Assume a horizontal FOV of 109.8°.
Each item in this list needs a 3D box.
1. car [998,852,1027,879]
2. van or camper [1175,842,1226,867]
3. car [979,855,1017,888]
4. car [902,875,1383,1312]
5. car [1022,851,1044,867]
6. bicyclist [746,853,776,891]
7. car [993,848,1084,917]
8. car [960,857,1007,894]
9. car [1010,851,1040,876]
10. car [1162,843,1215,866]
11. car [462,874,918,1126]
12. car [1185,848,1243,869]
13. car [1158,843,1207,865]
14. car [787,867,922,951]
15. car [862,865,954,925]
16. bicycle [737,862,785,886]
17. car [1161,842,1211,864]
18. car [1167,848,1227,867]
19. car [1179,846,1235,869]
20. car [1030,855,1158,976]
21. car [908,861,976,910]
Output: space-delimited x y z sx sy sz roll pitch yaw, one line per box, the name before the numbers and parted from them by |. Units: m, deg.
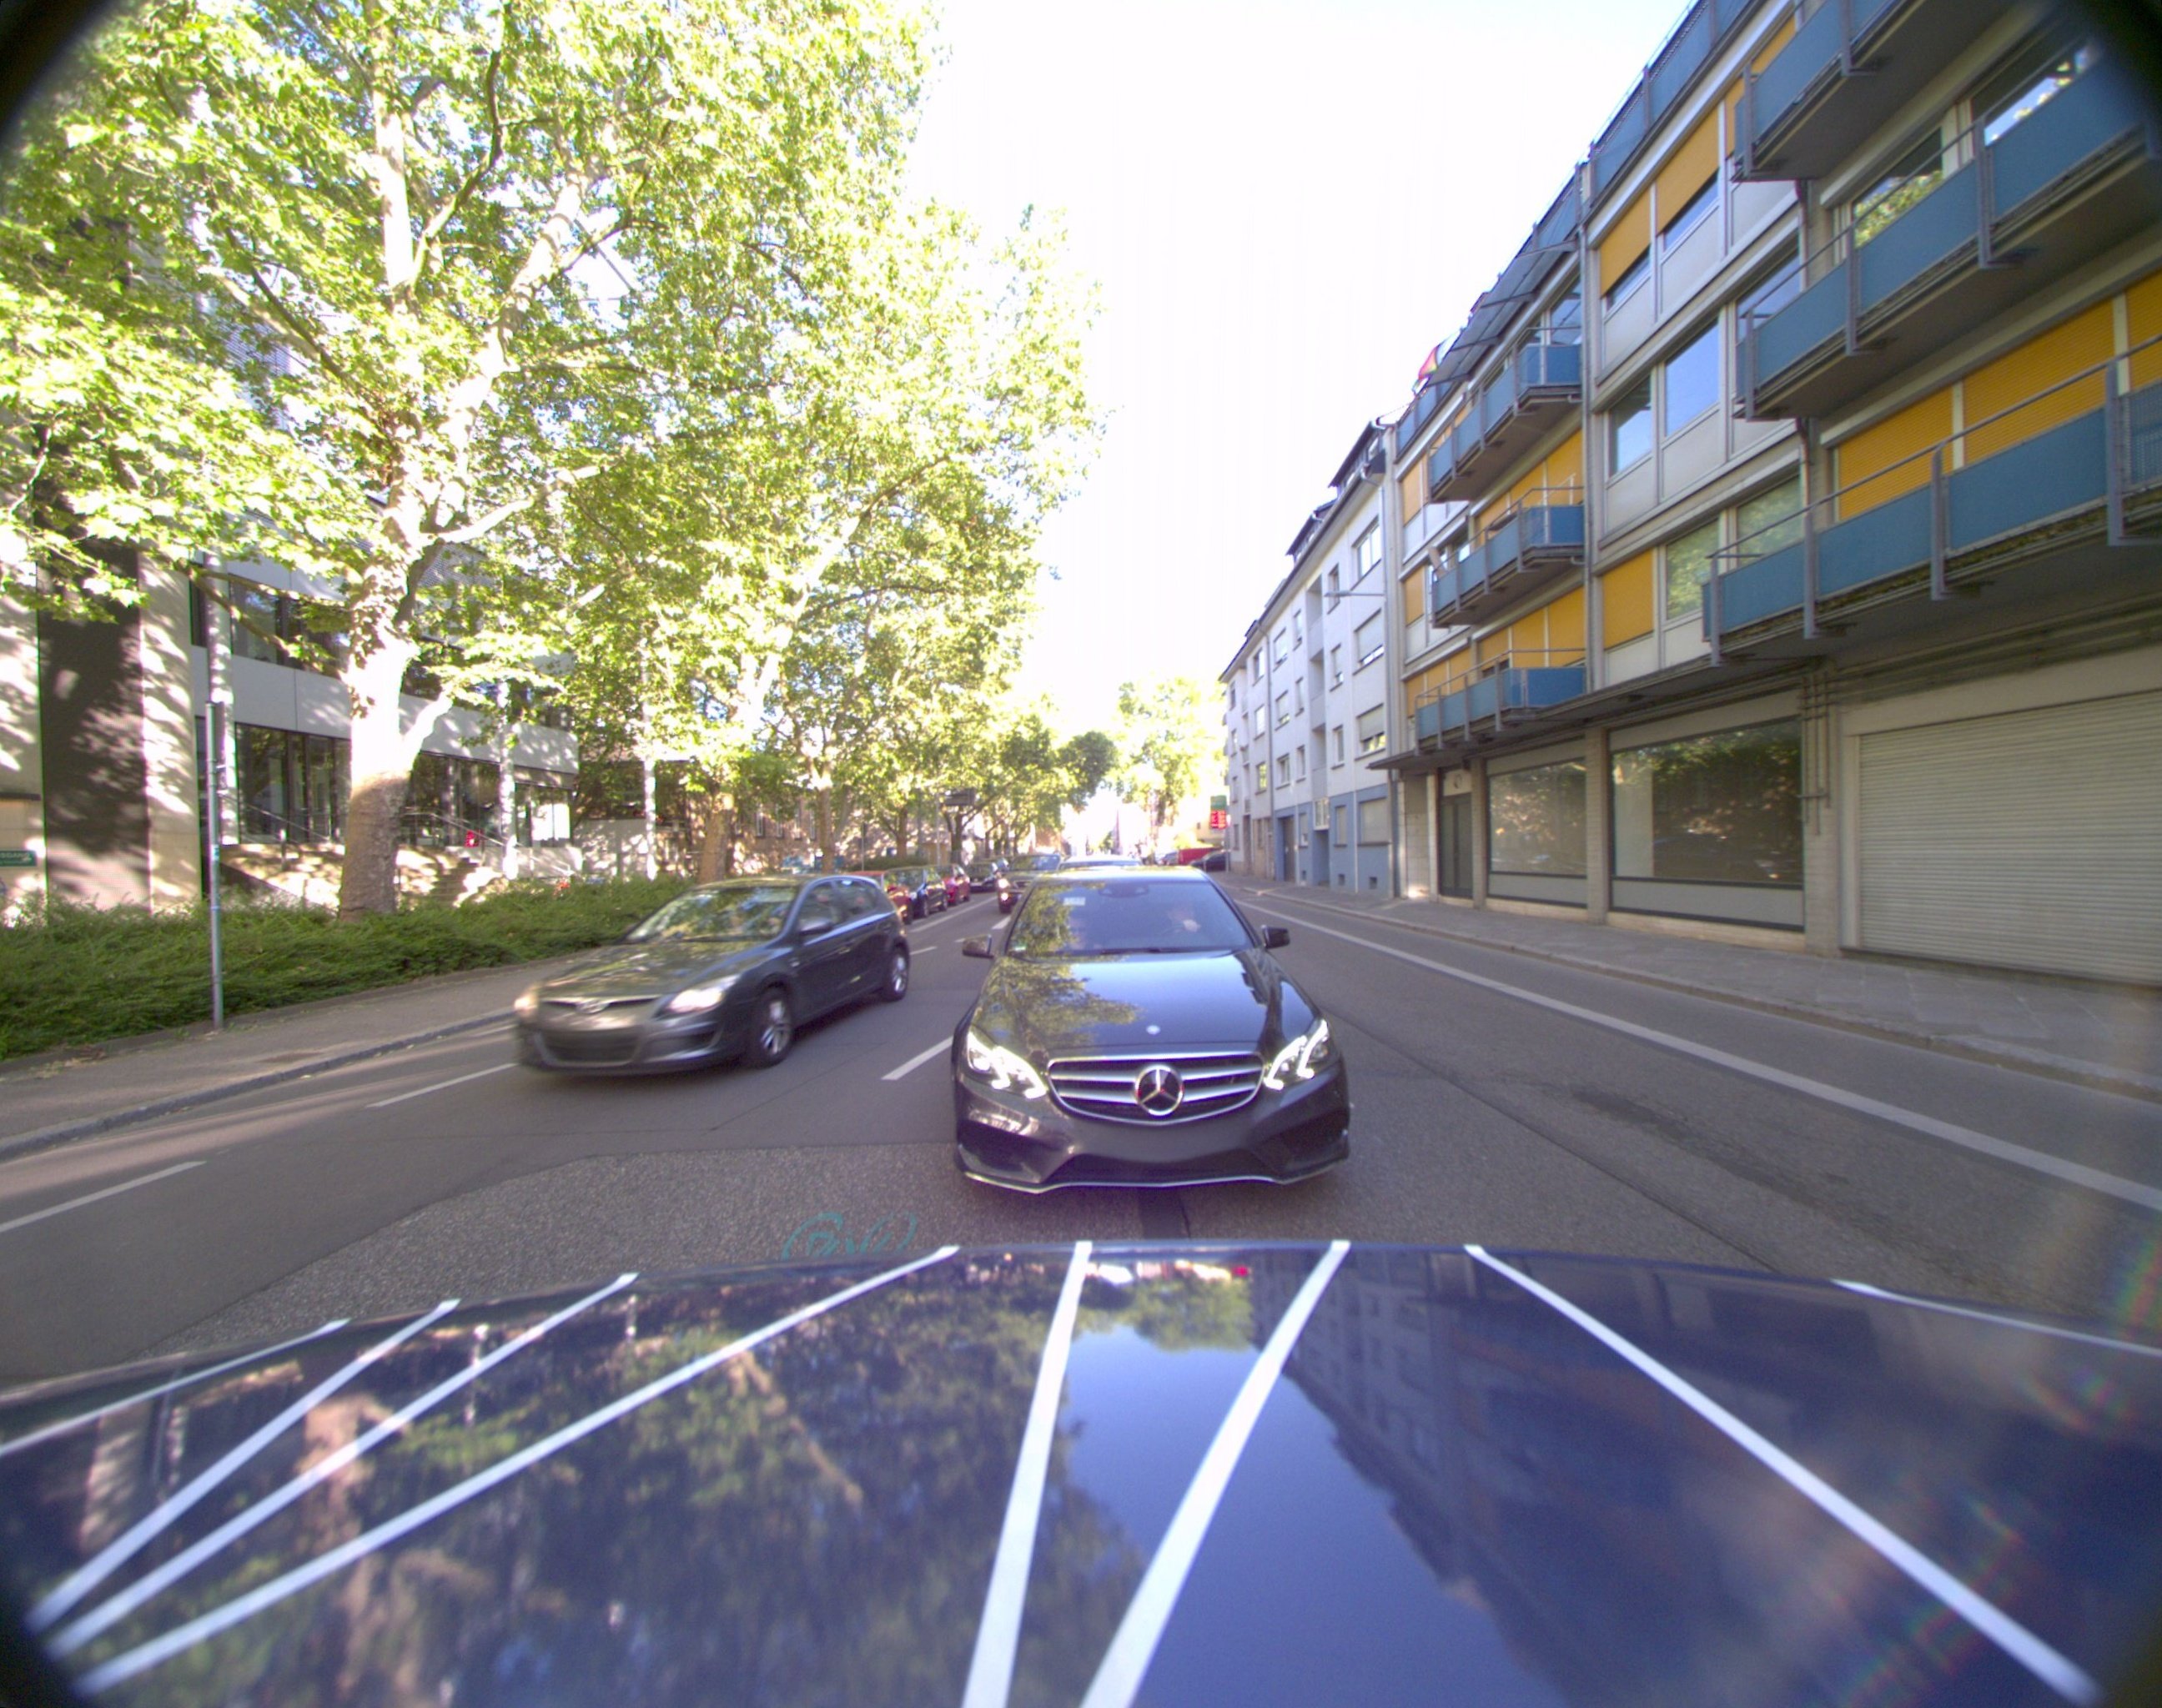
car | -4.913 0.798 54.993 1.741 1.785 3.895 -2 0 0
van or camper | 10.058 0.024 64.209 3.997 2.002 2.000 -2 1 0
car | -4.575 0.928 42.323 1.634 1.677 3.907 -2 0 0
car | 0.226 0.940 4.741 1.740 1.448 3.864 -2 0 0
car | -4.384 0.439 70.455 1.741 1.469 4.091 -2 0 0
bicyclist | -14.275 0.798 33.940 1.037 1.610 0.697 -2 1 -7
car | -1.160 0.774 22.927 1.784 1.760 4.387 -4 0 9
car | -4.737 0.997 37.336 1.741 1.622 4.091 -2 0 0
car | -4.346 0.725 59.858 1.992 1.795 4.376 -2 0 0
car | 10.913 0.026 77.349 4.990 2.181 2.000 -2 1 1
car | -2.991 1.002 6.900 1.647 1.473 3.978 -2 0 8
car | 10.314 0.324 58.971 4.146 1.486 2.000 -2 0 1
car | 11.036 -0.007 82.832 4.990 2.181 2.000 -2 1 1
car | -5.096 1.173 17.694 1.830 1.519 4.142 -4 0 0
car | -5.031 1.145 22.684 1.741 1.444 4.091 -4 0 0
bicycle | -14.279 0.885 33.949 1.799 1.009 0.734 -2 1 -7
car | 11.033 -0.101 80.201 4.990 2.181 2.000 -2 1 1
car | 10.160 0.285 66.712 4.990 1.486 2.000 -2 0 1
car | 10.137 0.269 61.302 4.146 1.681 2.000 -2 0 1
car | 0.207 0.831 12.557 1.646 1.520 4.619 -4 0 1
car | -4.981 1.089 27.715 1.681 1.484 3.918 -4 0 0
